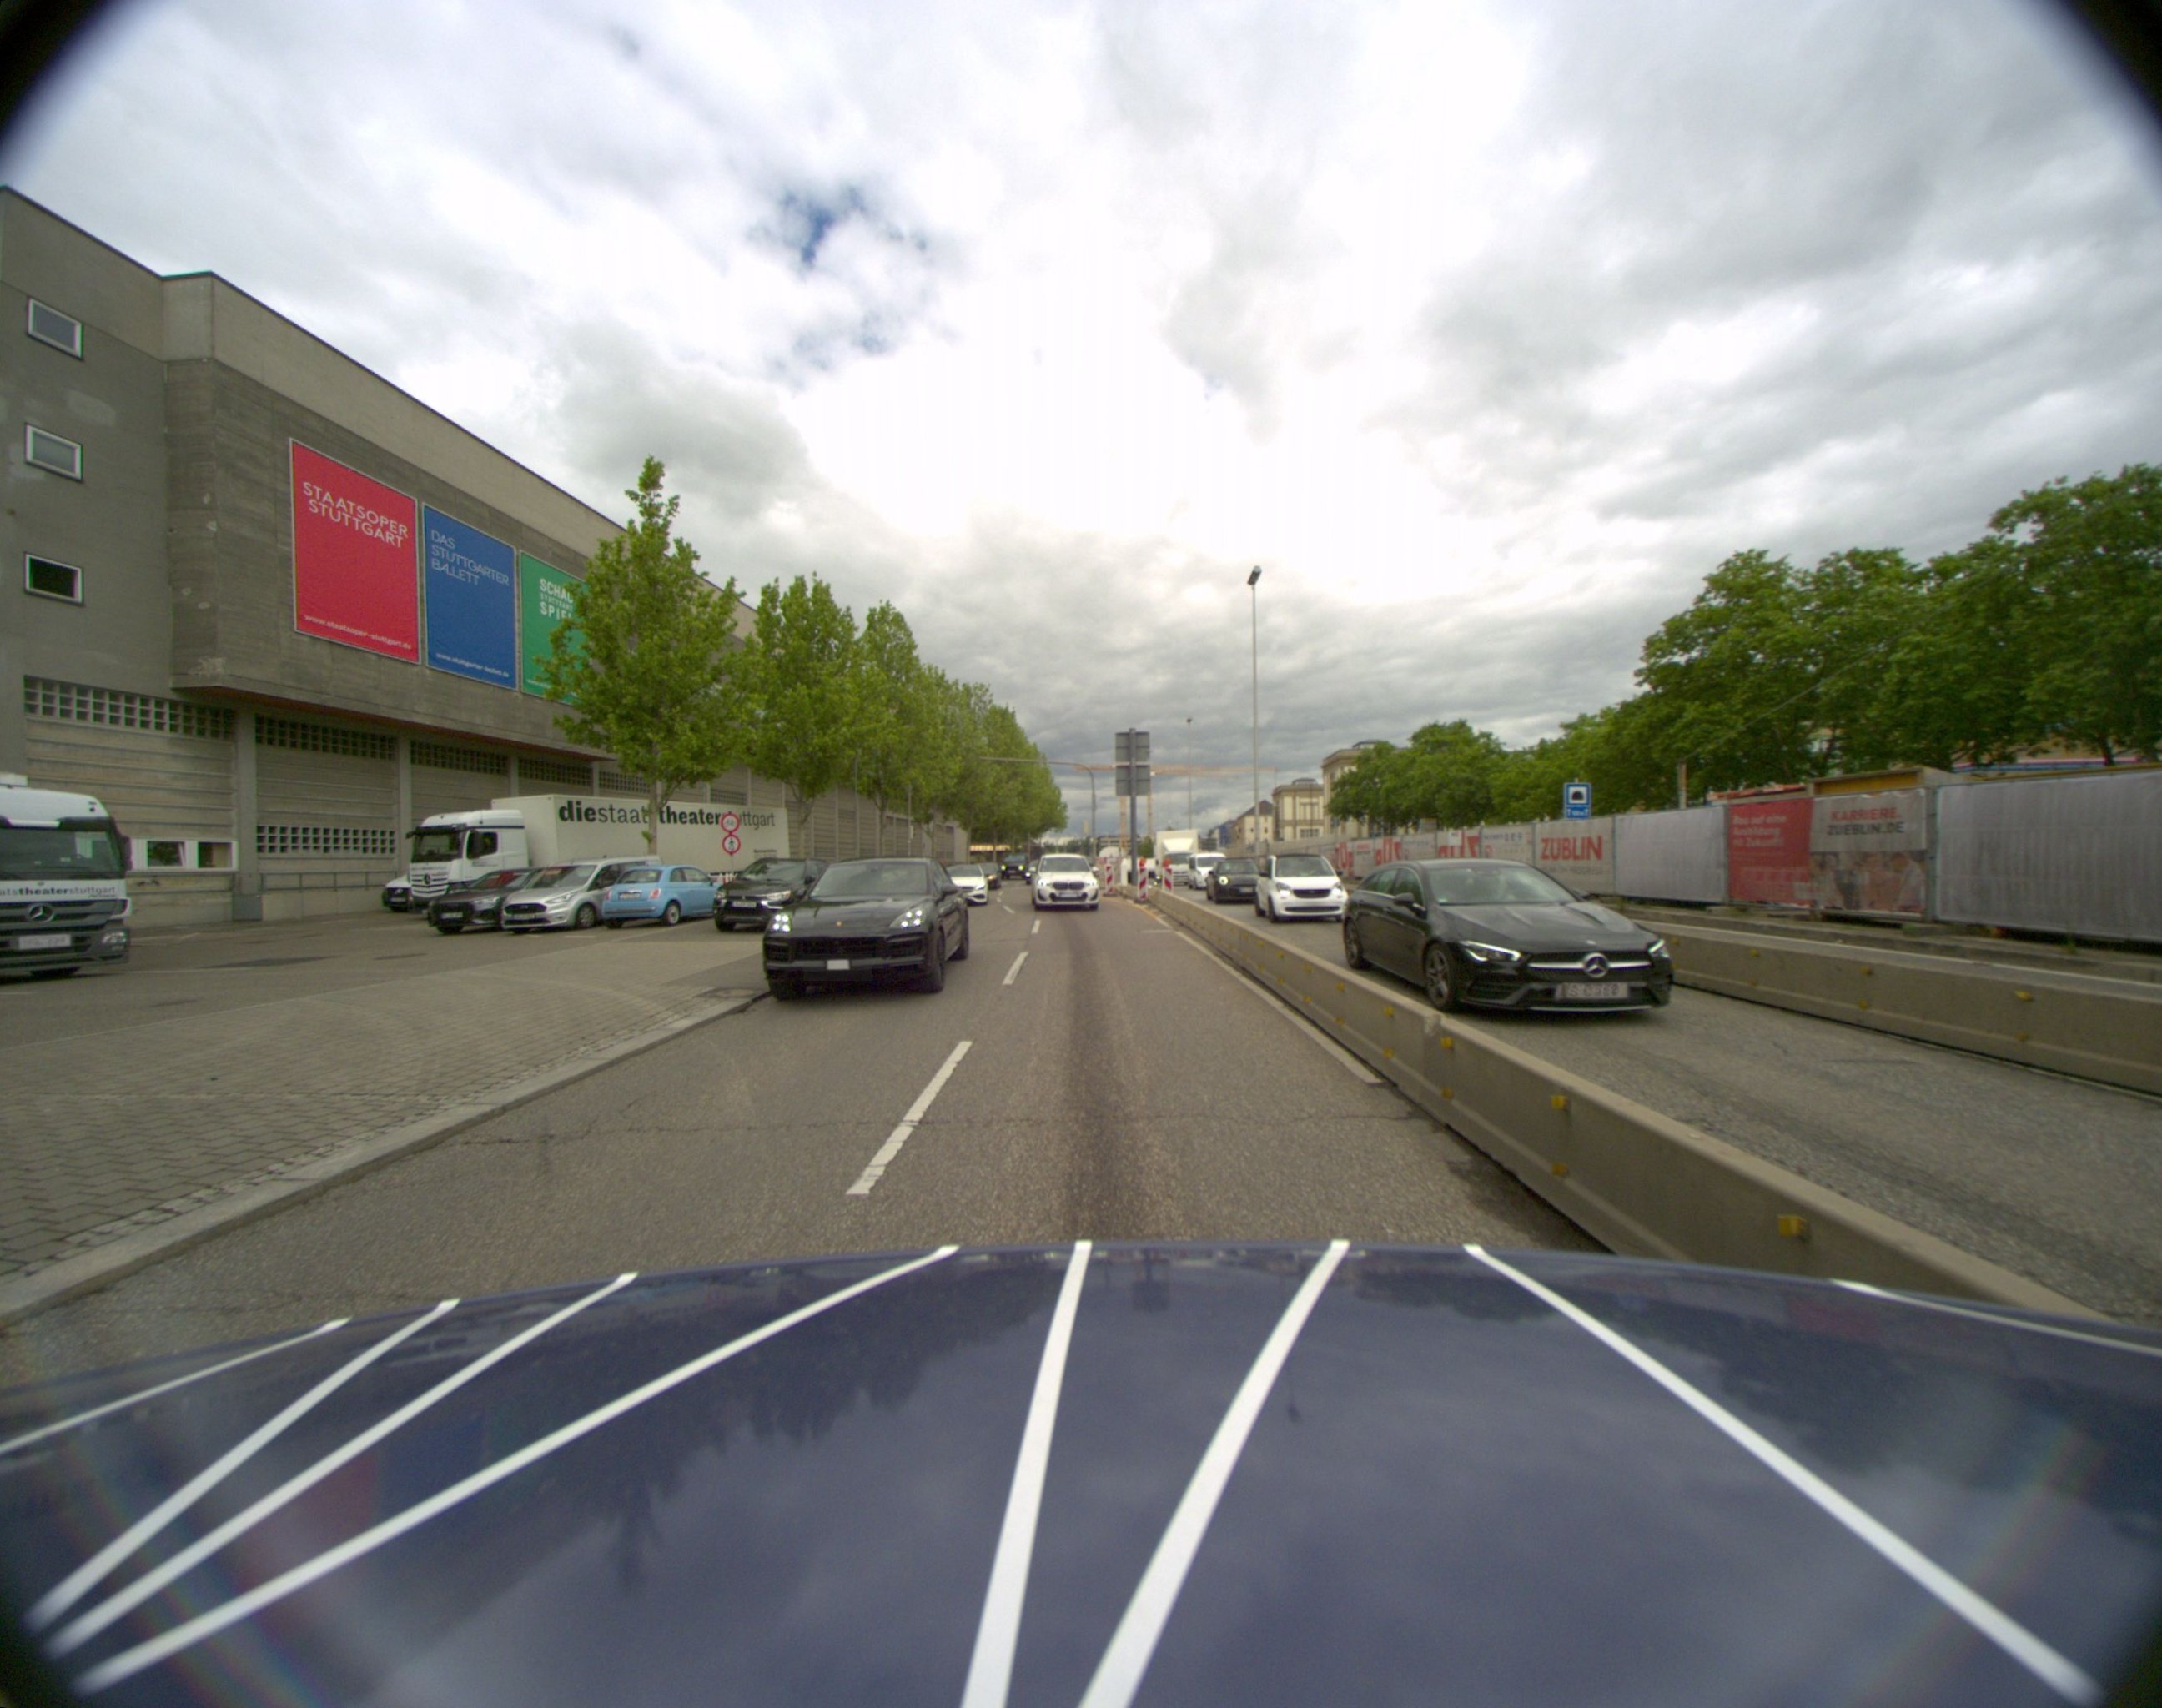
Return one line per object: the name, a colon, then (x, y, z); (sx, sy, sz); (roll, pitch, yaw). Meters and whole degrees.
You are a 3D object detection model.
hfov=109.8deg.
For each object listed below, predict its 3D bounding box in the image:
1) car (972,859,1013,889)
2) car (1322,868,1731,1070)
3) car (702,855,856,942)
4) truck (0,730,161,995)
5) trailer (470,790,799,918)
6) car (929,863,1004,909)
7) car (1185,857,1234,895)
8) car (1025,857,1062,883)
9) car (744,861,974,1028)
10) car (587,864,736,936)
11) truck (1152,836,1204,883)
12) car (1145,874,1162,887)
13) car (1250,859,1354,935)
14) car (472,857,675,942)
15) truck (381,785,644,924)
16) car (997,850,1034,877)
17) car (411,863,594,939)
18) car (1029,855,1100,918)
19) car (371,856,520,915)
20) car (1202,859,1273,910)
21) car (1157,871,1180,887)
car: (-4.680, 1.057, 40.616); (1.612, 1.464, 3.623); (-1, 0, 2)
car: (4.176, 0.940, 8.186); (1.858, 1.407, 4.566); (-3, 0, 3)
car: (-6.955, 0.955, 18.089); (1.809, 1.728, 4.486); (-2, -1, 0)
truck: (-22.172, 0.169, 12.830); (10.375, 4.181, 3.000); (0, 0, 5)
trailer: (-17.492, -0.098, 32.195); (3.153, 4.077, 13.983); (-3, 0, 12)
car: (-3.914, 1.076, 26.708); (1.934, 1.368, 4.000); (-2, 0, 1)
car: (6.255, 1.024, 37.388); (1.842, 1.751, 4.481); (-1, 0, 3)
car: (-2.197, 0.918, 45.907); (1.802, 1.429, 4.021); (-2, 0, 3)
car: (-2.642, 0.977, 10.157); (1.908, 1.648, 4.200); (-2, 0, -2)
car: (-10.328, 1.061, 19.006); (1.583, 1.521, 3.504); (-2, 0, 3)
truck: (6.129, 0.318, 49.018); (2.977, 2.757, 7.257); (-1, 0, 5)
car: (10.084, 3.665, 105.752); (1.872, 1.499, 3.999); (-3, 0, -1)
car: (5.034, 0.929, 17.659); (1.634, 1.545, 3.003); (-2, 0, 3)
car: (-12.769, 1.038, 19.576); (1.809, 1.773, 4.622); (-4, 0, 3)
truck: (-18.874, 0.004, 25.903); (3.137, 4.061, 6.578); (-2, 1, 12)
car: (-4.818, 0.698, 56.896); (1.951, 1.914, 4.401); (-1, 0, 5)
car: (-14.918, 1.149, 19.893); (1.718, 1.679, 3.762); (-2, 0, 3)
car: (-0.567, 0.877, 22.934); (1.856, 1.618, 4.905); (-2, 0, -3)
car: (-22.655, 1.053, 27.295); (1.558, 1.871, 4.002); (-2, 0, 8)
car: (5.046, 0.944, 24.956); (1.651, 1.430, 3.936); (-2, 0, 3)
car: (9.626, 2.765, 83.757); (1.872, 1.499, 3.999); (-3, 0, -1)
